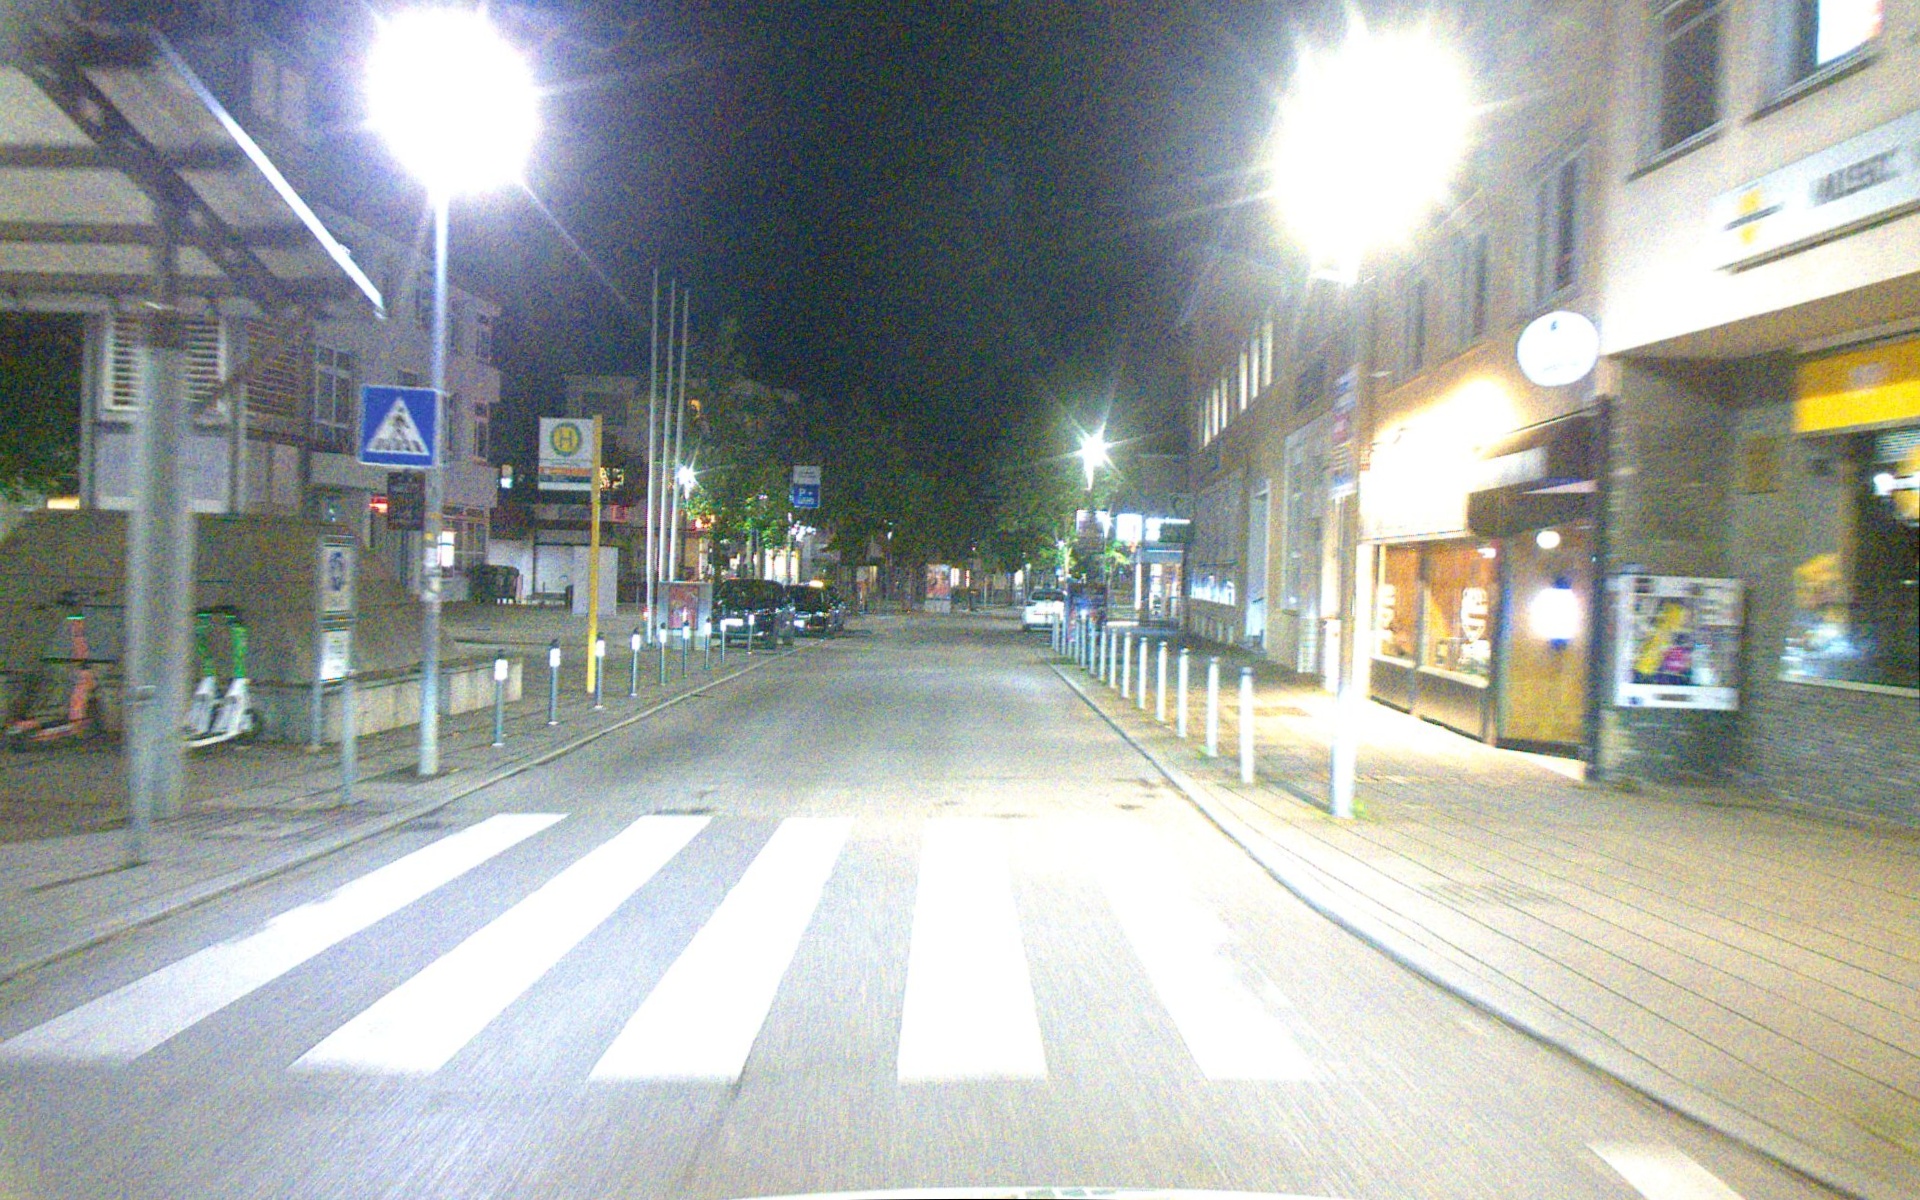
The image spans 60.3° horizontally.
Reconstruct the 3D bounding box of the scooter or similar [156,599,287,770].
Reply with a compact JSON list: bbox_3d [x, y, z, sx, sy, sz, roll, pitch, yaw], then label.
[{"bbox_3d":[-6.079,0.662,13.673,0.361,1.286,1.449,2,1,2],"label":"scooter or similar"}]

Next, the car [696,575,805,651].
[{"bbox_3d":[-4.787,0.277,38.349,1.734,1.601,4.484,2,0,2],"label":"car"}]

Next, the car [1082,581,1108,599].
[{"bbox_3d":[13.498,-1.021,164.971,1.975,1.720,5.007,3,1,12],"label":"car"}]

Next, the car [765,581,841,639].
[{"bbox_3d":[-4.592,0.245,48.872,1.866,1.568,4.781,2,1,-2],"label":"car"}]

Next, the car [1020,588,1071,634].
[{"bbox_3d":[3.012,0.402,58.043,1.706,1.513,4.638,1,0,3],"label":"car"}]

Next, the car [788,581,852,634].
[{"bbox_3d":[-4.641,0.216,55.371,1.723,1.666,4.815,1,1,0],"label":"car"}]

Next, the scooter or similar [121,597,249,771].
[{"bbox_3d":[-6.376,0.657,13.672,0.310,1.310,1.449,2,1,1],"label":"scooter or similar"}]

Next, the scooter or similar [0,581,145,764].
[{"bbox_3d":[-7.374,0.564,13.680,0.583,1.404,1.352,1,2,1],"label":"scooter or similar"}]

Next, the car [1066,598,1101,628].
[{"bbox_3d":[6.539,0.643,87.405,1.697,1.466,4.500,1,1,6],"label":"car"}]
